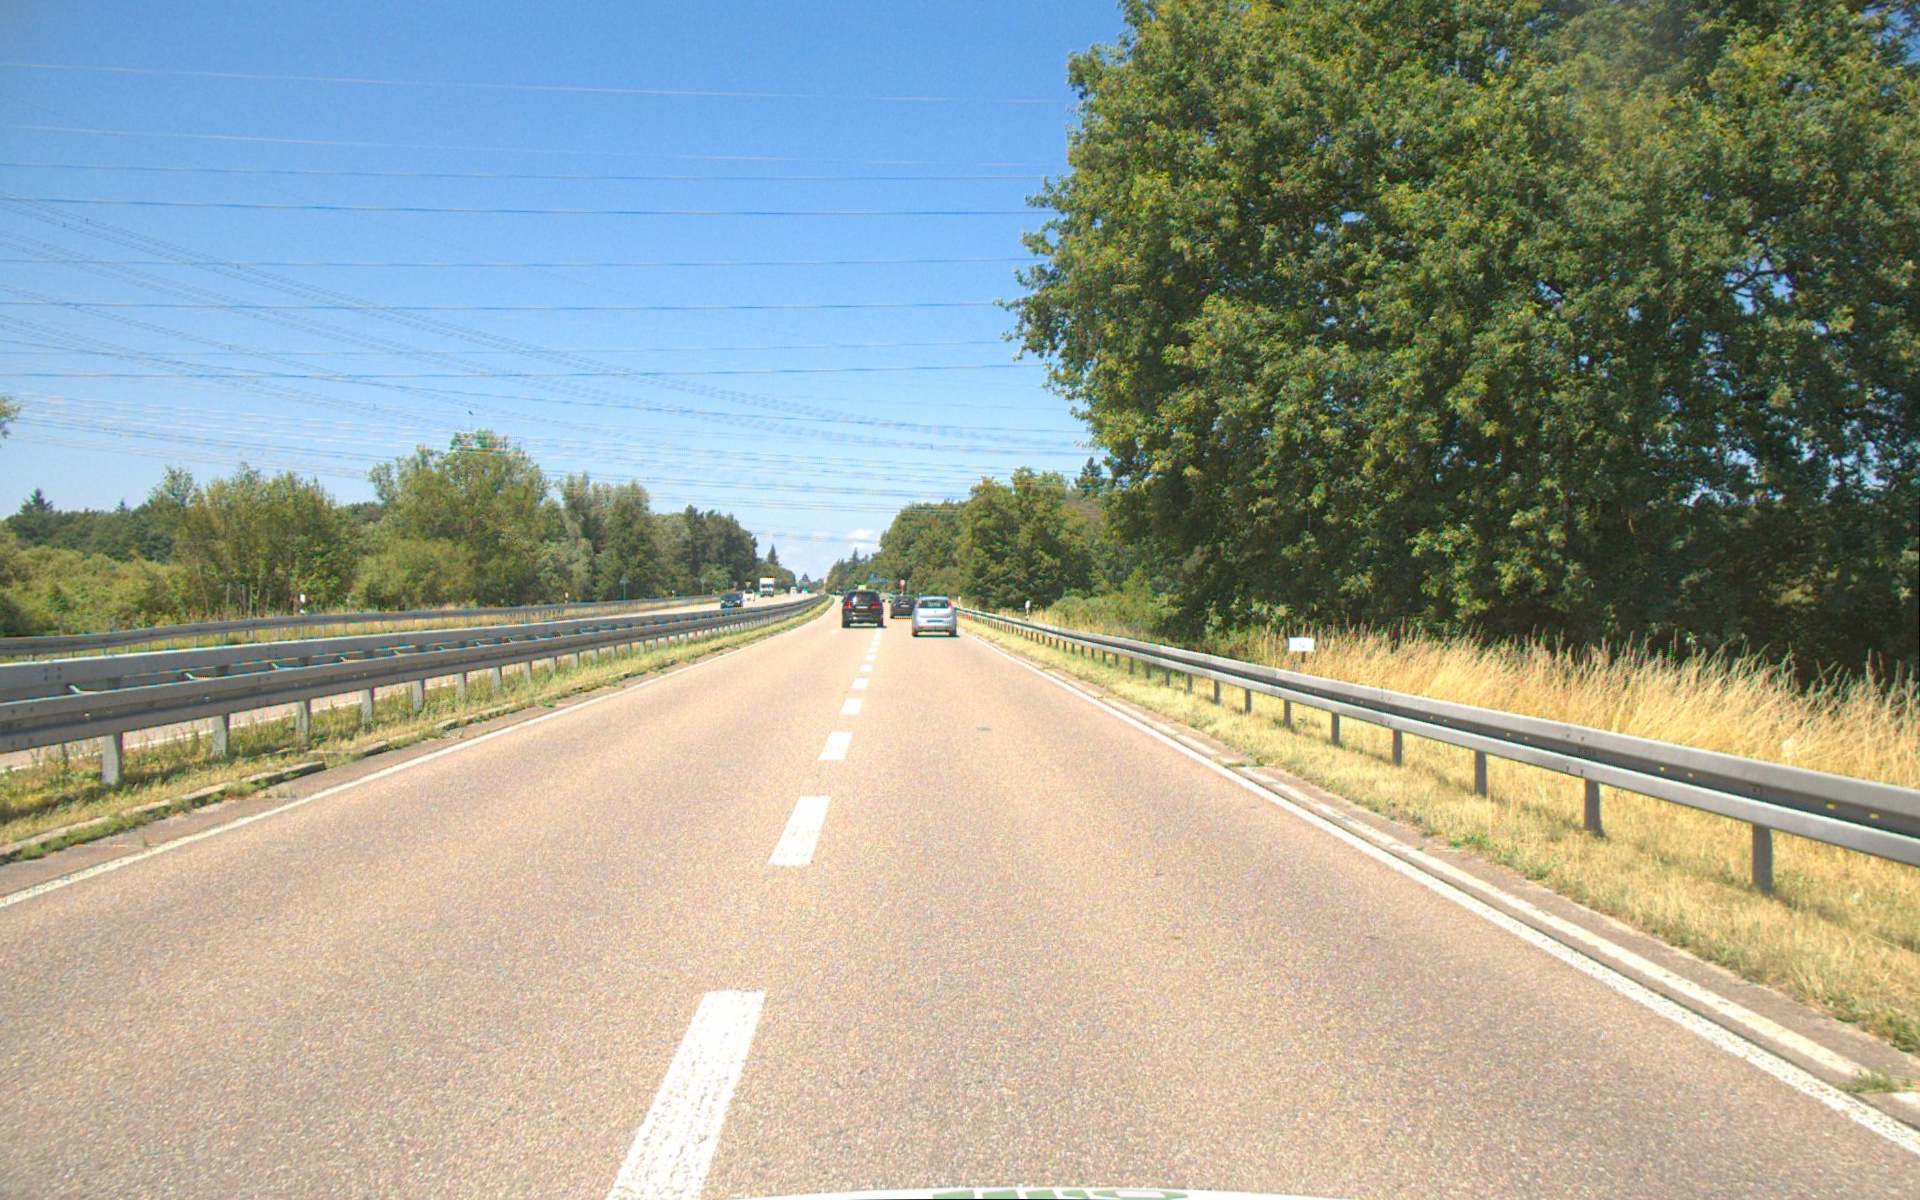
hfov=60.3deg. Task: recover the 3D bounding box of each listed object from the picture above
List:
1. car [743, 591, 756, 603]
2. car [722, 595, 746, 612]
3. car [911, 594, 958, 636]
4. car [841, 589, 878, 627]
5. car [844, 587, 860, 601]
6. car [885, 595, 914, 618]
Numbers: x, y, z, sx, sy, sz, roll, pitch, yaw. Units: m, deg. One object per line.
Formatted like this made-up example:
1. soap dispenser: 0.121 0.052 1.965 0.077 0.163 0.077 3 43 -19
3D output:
1. car: -27.779 -0.420 218.300 1.502 1.475 3.699 0 0 -3
2. car: -19.736 0.311 144.512 1.808 1.437 4.676 0 0 -5
3. car: -0.987 0.547 62.249 1.607 1.493 3.417 3 0 -3
4. car: -4.672 0.361 77.357 1.607 1.682 3.572 3 0 -3
5. car: -12.653 -0.672 193.606 1.679 1.497 3.570 3 0 -5
6. car: -3.774 0.384 103.224 1.607 1.366 3.574 3 0 0
